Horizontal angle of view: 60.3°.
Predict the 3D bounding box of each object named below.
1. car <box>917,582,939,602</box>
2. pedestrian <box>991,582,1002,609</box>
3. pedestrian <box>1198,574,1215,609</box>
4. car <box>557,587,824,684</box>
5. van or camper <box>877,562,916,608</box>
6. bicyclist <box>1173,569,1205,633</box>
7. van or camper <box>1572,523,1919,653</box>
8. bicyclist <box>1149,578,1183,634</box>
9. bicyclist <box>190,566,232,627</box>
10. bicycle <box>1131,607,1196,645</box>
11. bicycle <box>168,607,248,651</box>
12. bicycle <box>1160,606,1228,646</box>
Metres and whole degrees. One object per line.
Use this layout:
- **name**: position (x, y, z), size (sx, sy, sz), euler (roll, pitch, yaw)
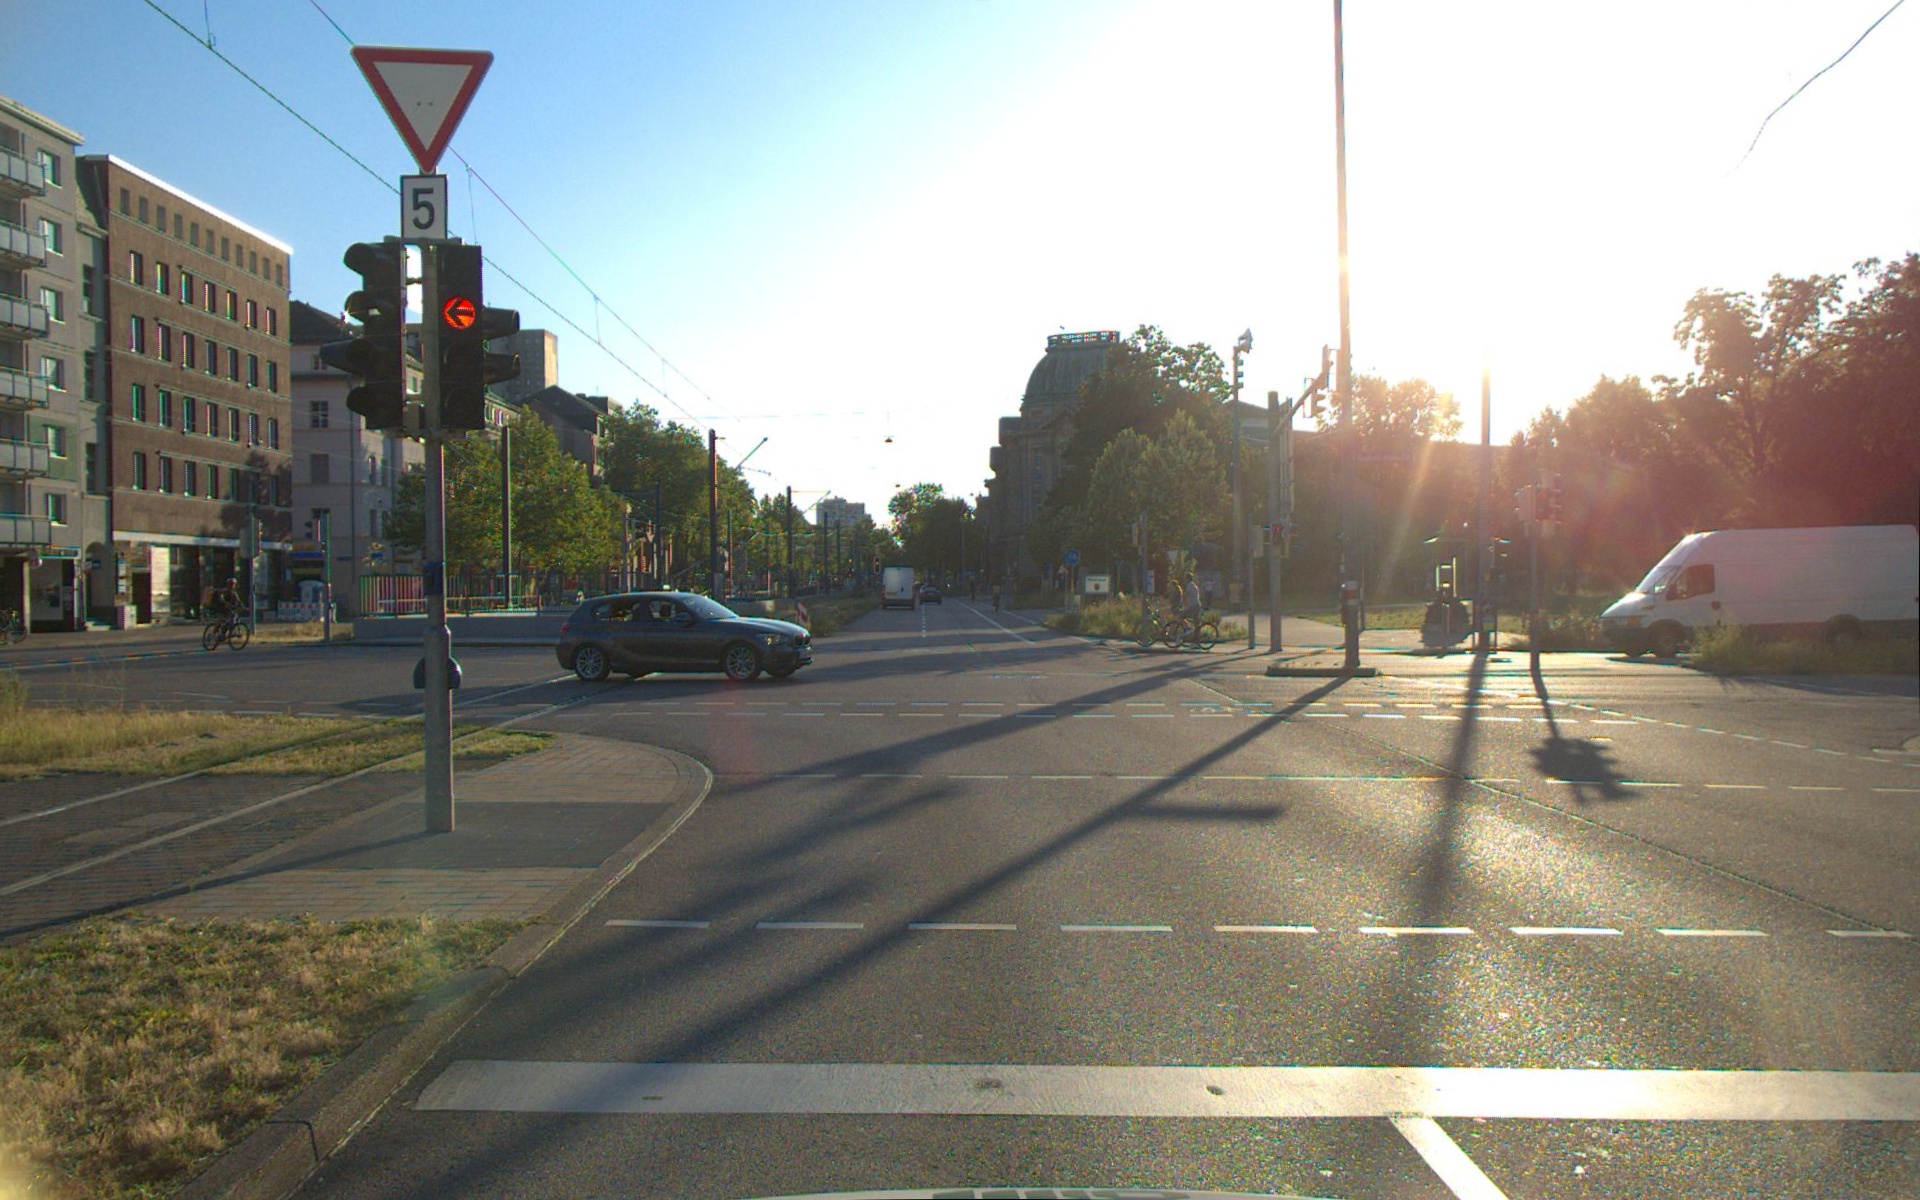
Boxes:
- **car**: position (-2.460, -0.635, 128.024), size (1.702, 1.410, 4.000), euler (-1, 2, -1)
- **pedestrian**: position (2.142, -0.267, 96.963), size (0.603, 1.501, 0.800), euler (-1, 2, 3)
- **pedestrian**: position (11.952, -0.408, 80.175), size (0.668, 1.639, 0.612), euler (-1, 2, -1)
- **car**: position (-4.357, 0.544, 26.863), size (3.902, 1.459, 1.720), euler (0, 1, 16)
- **van or camper**: position (-3.885, -0.940, 101.749), size (2.217, 2.670, 4.503), euler (-1, 2, -1)
- **bicyclist**: position (5.868, 0.024, 42.402), size (0.781, 1.598, 0.664), euler (-1, 2, 5)
- **van or camper**: position (17.760, -0.300, 37.377), size (6.897, 2.721, 2.599), euler (-1, 2, 1)
- **bicyclist**: position (5.513, 0.157, 44.303), size (0.835, 1.467, 0.663), euler (-1, 2, 2)
- **bicyclist**: position (-18.202, -0.086, 40.196), size (0.840, 1.467, 0.659), euler (1, 1, -19)
- **bicycle**: position (5.447, 0.689, 44.307), size (1.682, 0.987, 0.610), euler (0, 2, 2)
- **bicycle**: position (-18.260, 0.704, 40.188), size (1.703, 0.986, 0.700), euler (1, 2, -20)
- **bicycle**: position (5.997, 0.665, 42.414), size (1.692, 0.987, 0.610), euler (0, 2, 5)
